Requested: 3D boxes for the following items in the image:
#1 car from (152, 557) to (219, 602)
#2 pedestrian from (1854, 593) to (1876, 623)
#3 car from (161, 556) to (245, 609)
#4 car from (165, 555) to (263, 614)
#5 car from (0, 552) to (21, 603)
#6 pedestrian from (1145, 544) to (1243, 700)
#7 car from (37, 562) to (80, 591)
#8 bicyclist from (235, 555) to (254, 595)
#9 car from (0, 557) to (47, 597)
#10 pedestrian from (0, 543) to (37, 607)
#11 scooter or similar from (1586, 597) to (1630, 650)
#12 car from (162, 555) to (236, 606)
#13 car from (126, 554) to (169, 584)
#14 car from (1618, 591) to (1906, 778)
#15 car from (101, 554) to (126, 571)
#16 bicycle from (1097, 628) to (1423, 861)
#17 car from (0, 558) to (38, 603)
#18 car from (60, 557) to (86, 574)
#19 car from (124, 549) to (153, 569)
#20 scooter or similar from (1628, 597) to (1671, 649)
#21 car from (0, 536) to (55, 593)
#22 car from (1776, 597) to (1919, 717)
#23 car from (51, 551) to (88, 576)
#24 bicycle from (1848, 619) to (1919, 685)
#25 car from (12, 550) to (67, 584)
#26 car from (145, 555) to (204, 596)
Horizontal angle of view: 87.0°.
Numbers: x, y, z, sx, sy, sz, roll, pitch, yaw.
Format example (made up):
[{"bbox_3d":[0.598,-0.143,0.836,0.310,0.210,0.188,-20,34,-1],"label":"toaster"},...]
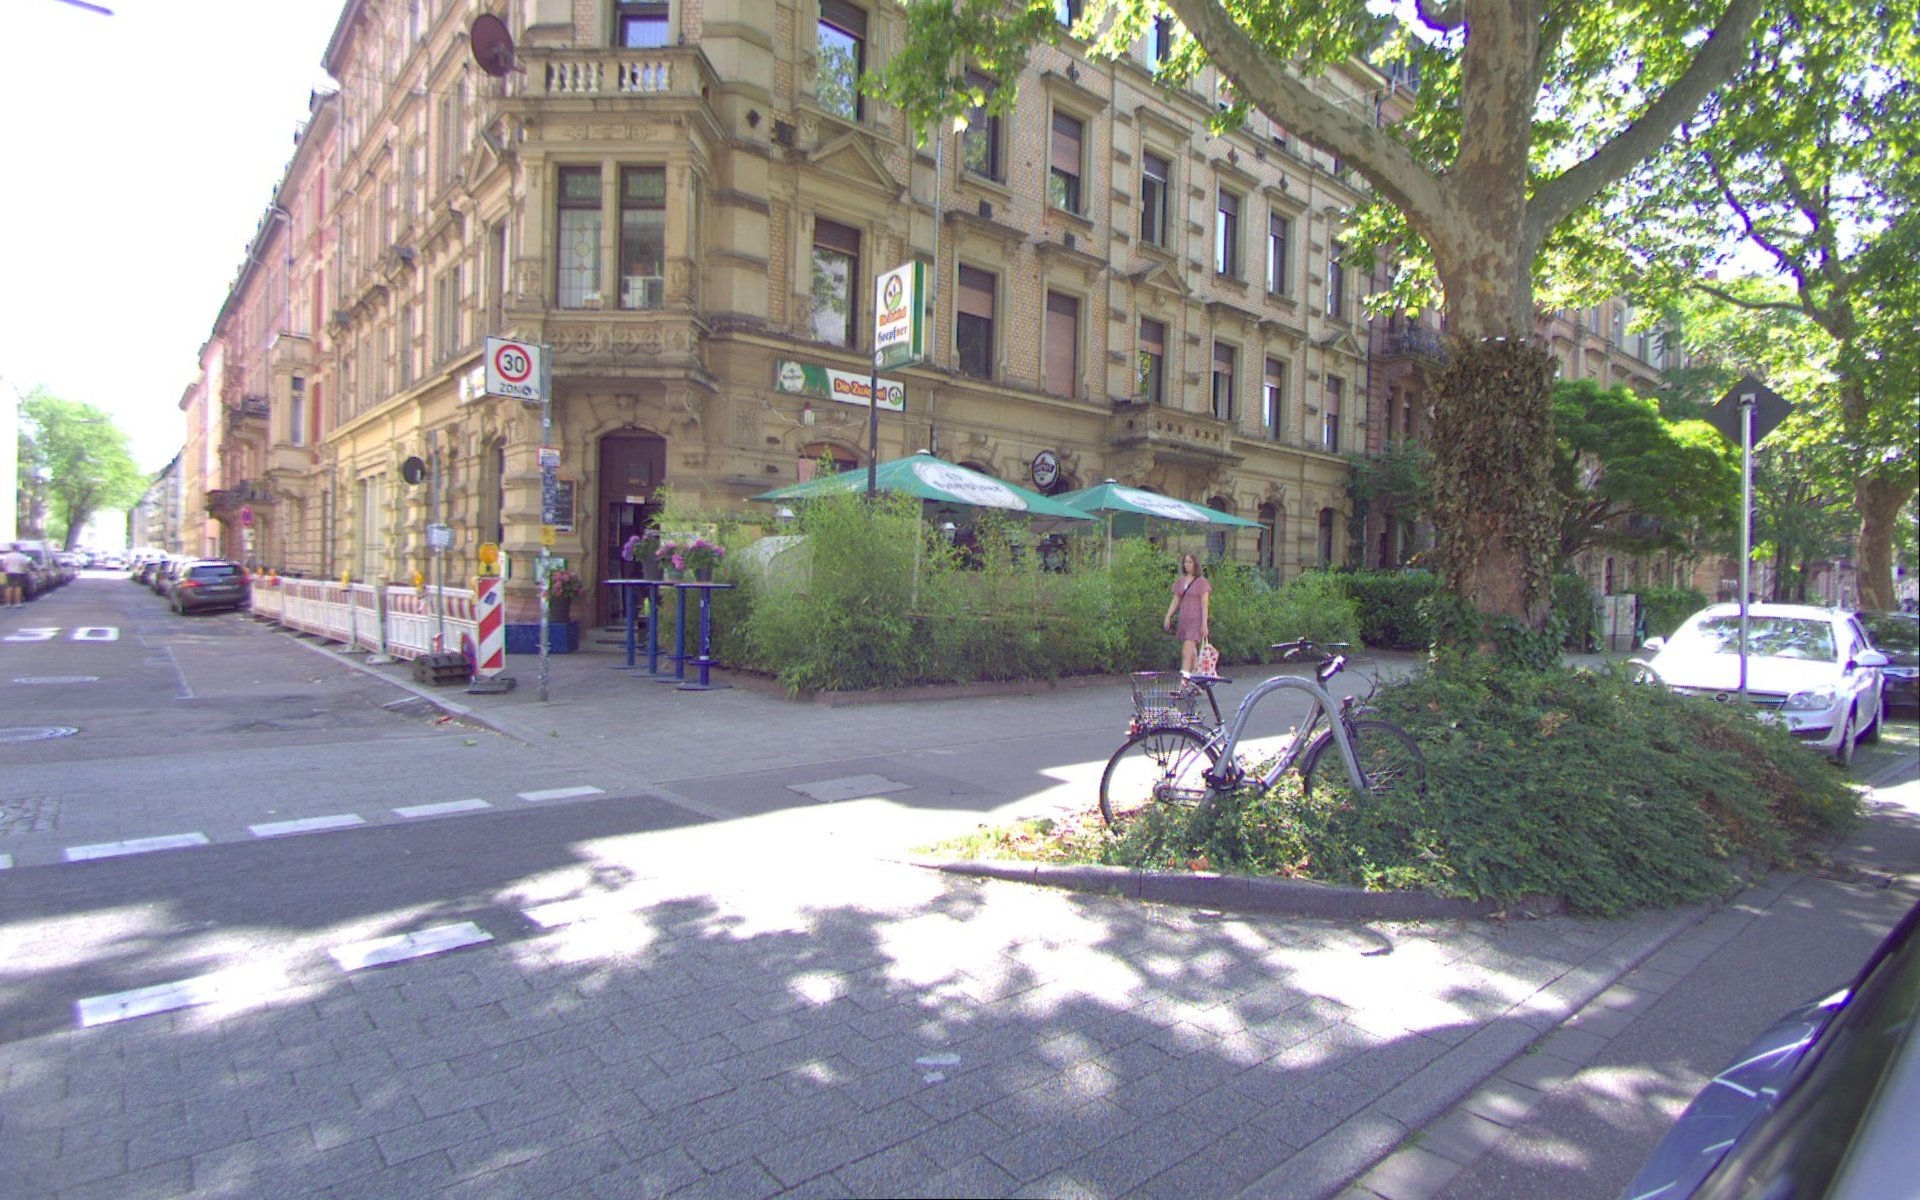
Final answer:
[{"bbox_3d":[-32.016,-0.869,41.797,1.965,1.760,3.995,1,1,-41],"label":"car"},{"bbox_3d":[53.236,0.481,59.541,0.951,1.740,0.796,1,1,-41],"label":"pedestrian"},{"bbox_3d":[-25.333,-0.599,33.813,1.965,1.660,3.995,1,1,-41],"label":"car"},{"bbox_3d":[-21.412,-0.466,28.986,1.965,1.571,3.995,1,2,-41],"label":"car"},{"bbox_3d":[-30.757,-0.734,31.831,1.698,1.548,3.490,1,1,-41],"label":"car"},{"bbox_3d":[2.864,0.243,12.389,0.837,1.807,0.738,1,3,-41],"label":"pedestrian"},{"bbox_3d":[-57.837,-1.533,64.975,1.879,1.731,4.159,1,1,-39],"label":"car"},{"bbox_3d":[-26.404,-0.928,37.355,0.524,1.471,0.460,1,1,-42],"label":"bicyclist"},{"bbox_3d":[-38.031,-0.941,40.855,1.698,1.548,3.490,1,1,-41],"label":"car"},{"bbox_3d":[-27.438,-0.724,29.364,0.921,1.821,1.036,1,1,-44],"label":"pedestrian"},{"bbox_3d":[15.816,0.561,24.690,1.124,1.263,0.583,1,1,-40],"label":"scooter or similar"},{"bbox_3d":[-28.336,-0.750,37.637,1.965,1.760,3.995,1,1,-41],"label":"car"},{"bbox_3d":[-51.005,-1.967,63.483,1.965,1.760,3.995,1,1,-41],"label":"car"},{"bbox_3d":[8.647,0.715,10.754,4.418,1.527,1.835,0,2,-44],"label":"car"},{"bbox_3d":[-89.673,-3.997,107.231,1.965,1.760,3.995,1,1,-41],"label":"car"},{"bbox_3d":[1.557,0.731,5.293,1.583,1.119,0.423,1,1,-10],"label":"bicycle"},{"bbox_3d":[-34.223,-0.736,36.228,1.698,1.548,3.490,0,1,-42],"label":"car"},{"bbox_3d":[-77.418,-3.051,88.356,1.641,1.419,3.357,1,1,-40],"label":"car"},{"bbox_3d":[-75.698,-3.762,93.227,1.965,1.760,3.995,1,1,-41],"label":"car"},{"bbox_3d":[17.937,0.593,26.324,1.124,1.298,0.583,1,1,-39],"label":"scooter or similar"},{"bbox_3d":[-41.453,-1.565,44.745,1.879,2.403,4.244,1,1,-39],"label":"car"},{"bbox_3d":[14.001,0.765,15.229,4.561,1.527,1.837,0,2,-40],"label":"car"},{"bbox_3d":[-64.445,-2.617,73.253,1.879,1.731,4.157,1,1,-40],"label":"car"},{"bbox_3d":[16.846,0.935,17.913,1.615,1.102,0.469,2,1,17],"label":"bicycle"},{"bbox_3d":[-48.624,-1.749,53.520,1.879,1.731,4.159,1,1,-39],"label":"car"},{"bbox_3d":[-36.257,-1.141,46.671,1.965,1.760,3.995,1,1,-41],"label":"car"}]
